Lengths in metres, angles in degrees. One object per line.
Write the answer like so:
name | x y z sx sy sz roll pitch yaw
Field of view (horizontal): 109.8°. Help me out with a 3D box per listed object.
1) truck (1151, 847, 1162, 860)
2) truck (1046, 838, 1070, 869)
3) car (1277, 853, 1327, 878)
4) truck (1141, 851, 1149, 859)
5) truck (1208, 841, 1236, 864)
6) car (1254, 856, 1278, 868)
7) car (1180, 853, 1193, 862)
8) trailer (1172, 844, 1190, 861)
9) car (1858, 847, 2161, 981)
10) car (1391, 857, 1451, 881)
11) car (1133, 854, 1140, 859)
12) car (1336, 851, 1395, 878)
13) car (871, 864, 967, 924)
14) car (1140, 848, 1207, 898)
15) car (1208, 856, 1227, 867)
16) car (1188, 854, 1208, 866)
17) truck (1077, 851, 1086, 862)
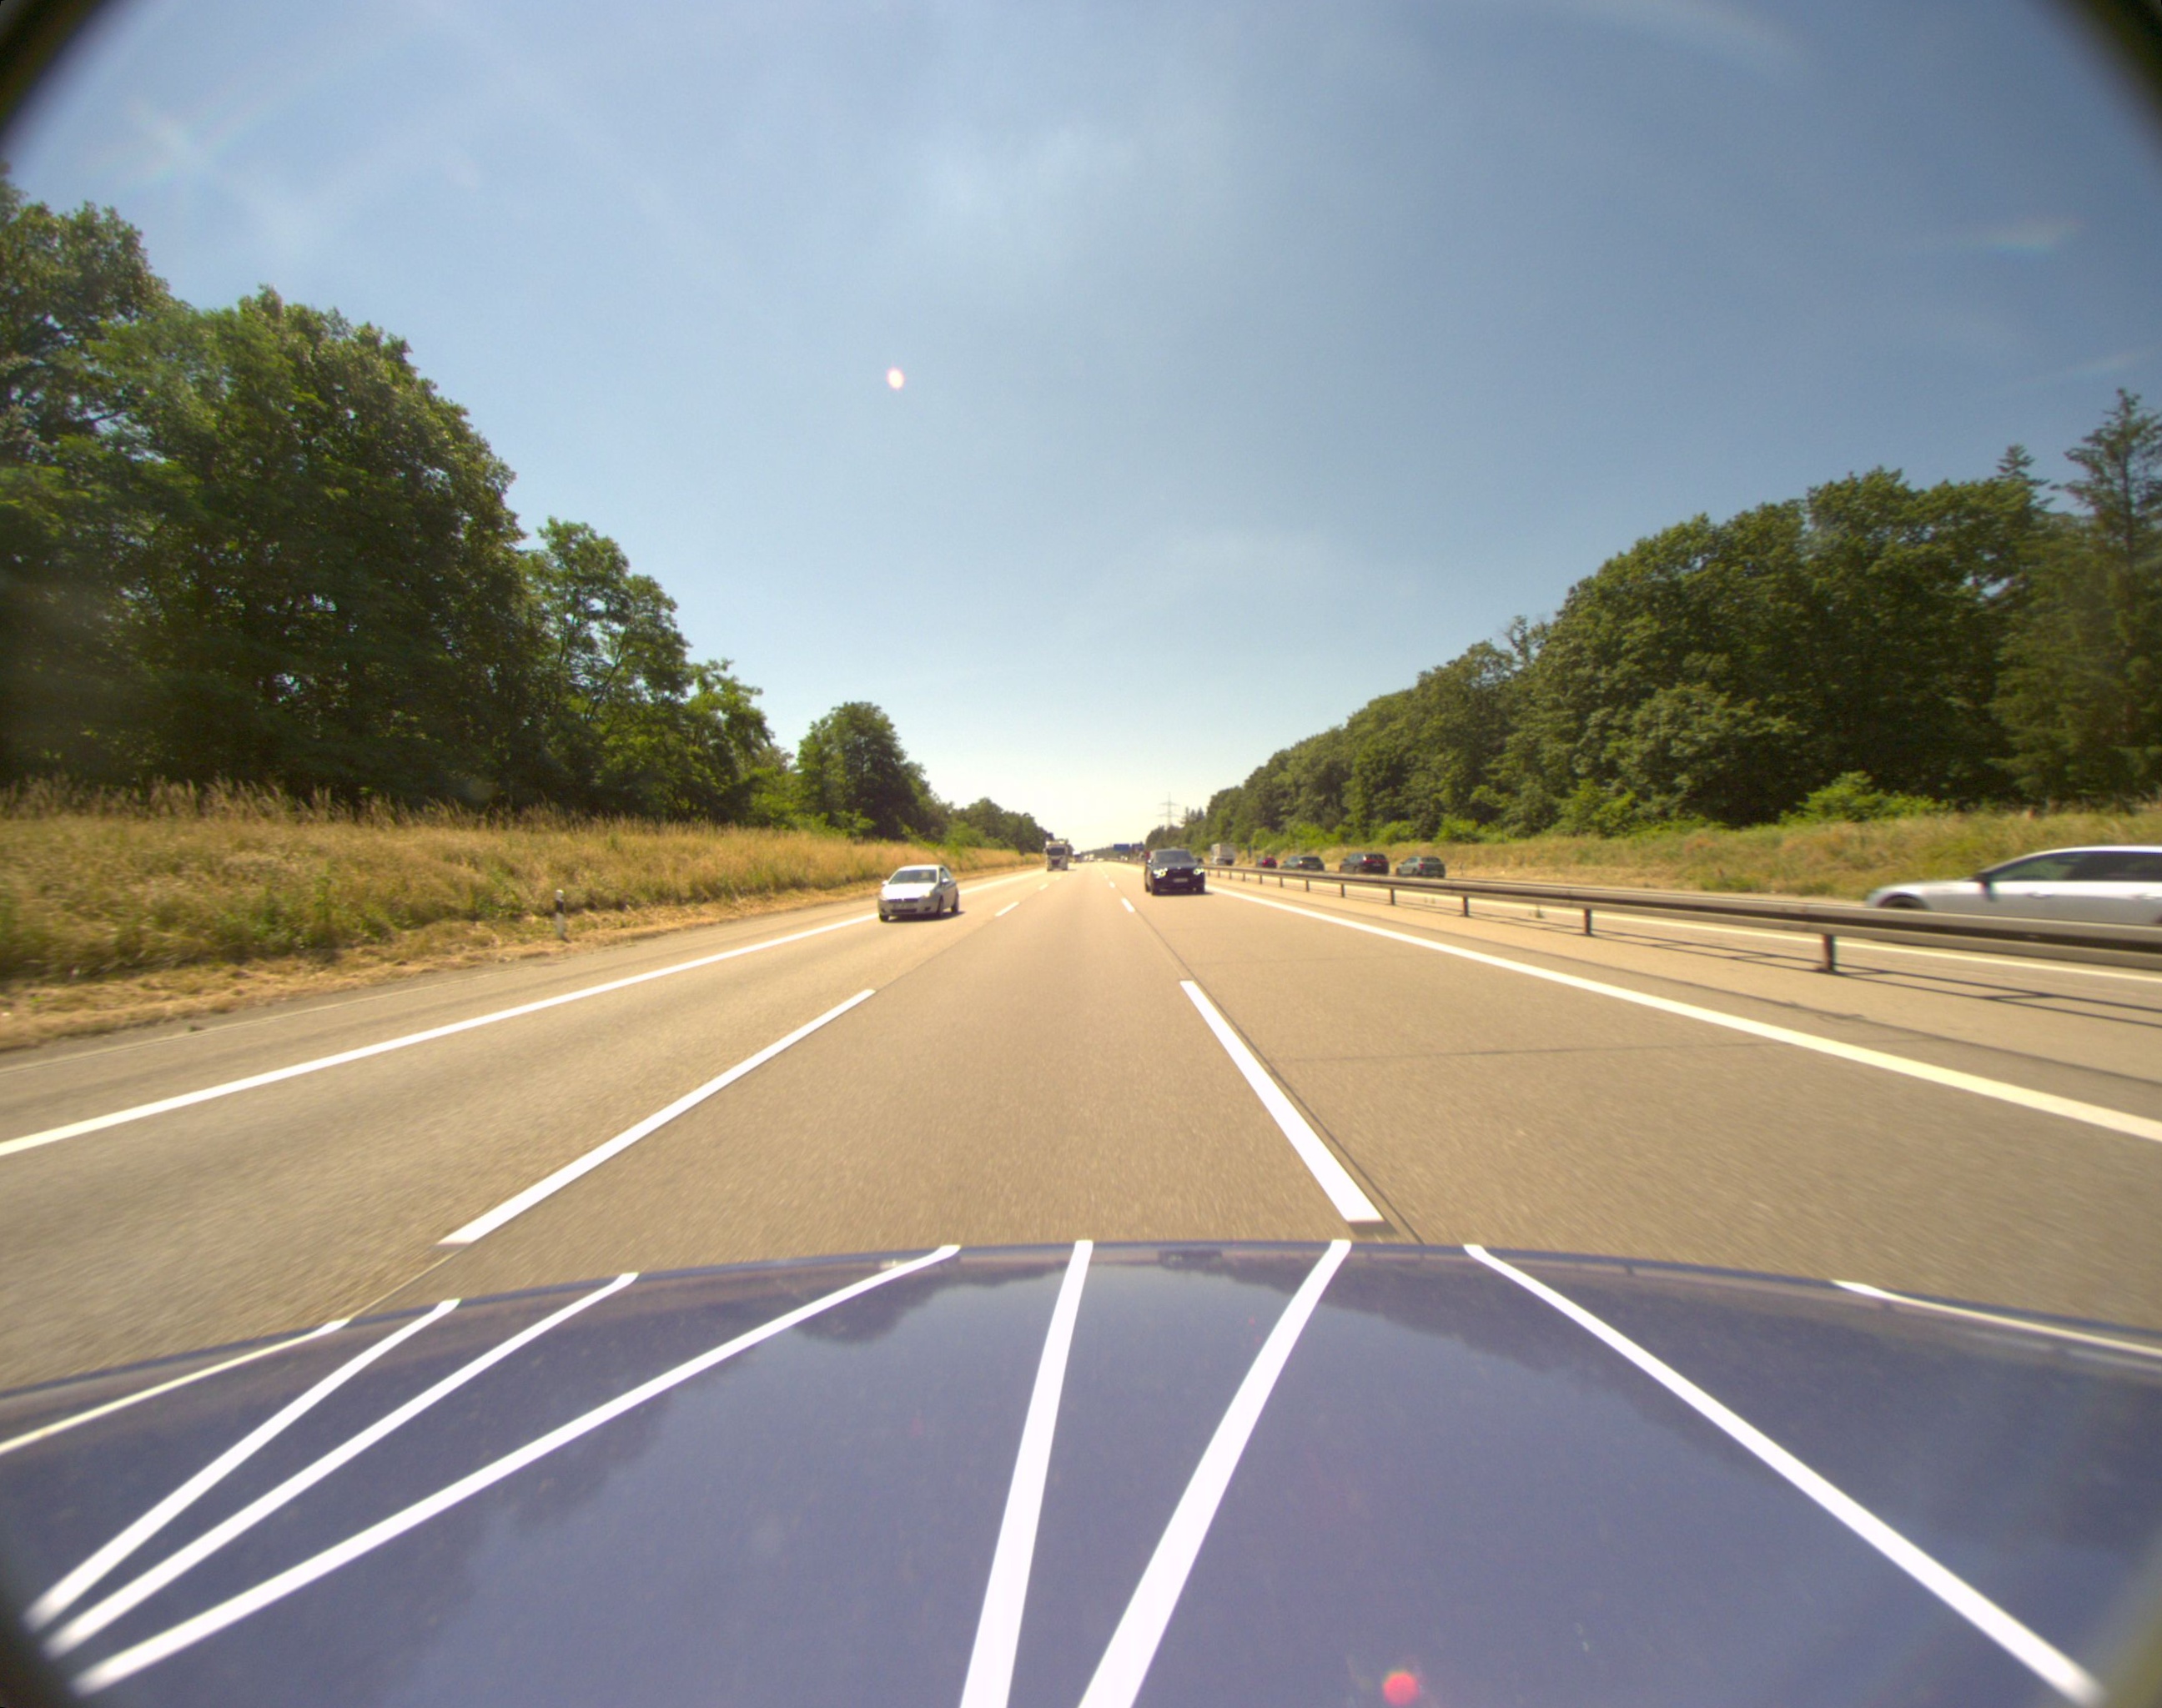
truck | 21.192 -0.221 214.166 2.463 3.585 8.120 1 0 1
truck | -2.920 -0.044 97.863 2.605 3.811 5.969 -3 0 1
car | 13.392 0.682 46.337 1.703 1.421 4.574 1 0 0
truck | 20.429 0.279 244.278 2.088 2.607 8.031 1 0 1
truck | 22.840 -0.241 123.591 2.739 3.498 10.441 1 0 0
car | 22.305 0.937 91.580 1.658 1.403 5.176 1 0 1
car | 20.091 0.682 145.201 1.731 1.636 5.088 2 0 0
trailer | 24.326 -0.412 185.603 2.511 3.991 14.368 1 0 1
car | 12.708 0.674 9.042 1.799 1.465 4.986 1 0 0
car | 21.212 0.901 47.573 1.675 1.401 4.597 1 0 0
car | 15.843 0.718 217.564 1.608 1.391 4.544 1 0 0
car | 17.709 0.626 47.589 1.799 1.609 4.986 1 0 0
car | -4.552 1.078 21.875 1.749 1.457 3.980 -2 0 2
car | 3.566 0.710 30.408 1.945 1.742 5.813 -2 0 0
car | 18.796 1.071 104.641 1.766 1.399 4.352 1 0 0
car | 14.951 0.707 97.687 1.766 1.451 5.121 1 0 0
truck | 0.097 0.805 248.120 2.593 3.534 8.650 -3 0 1
